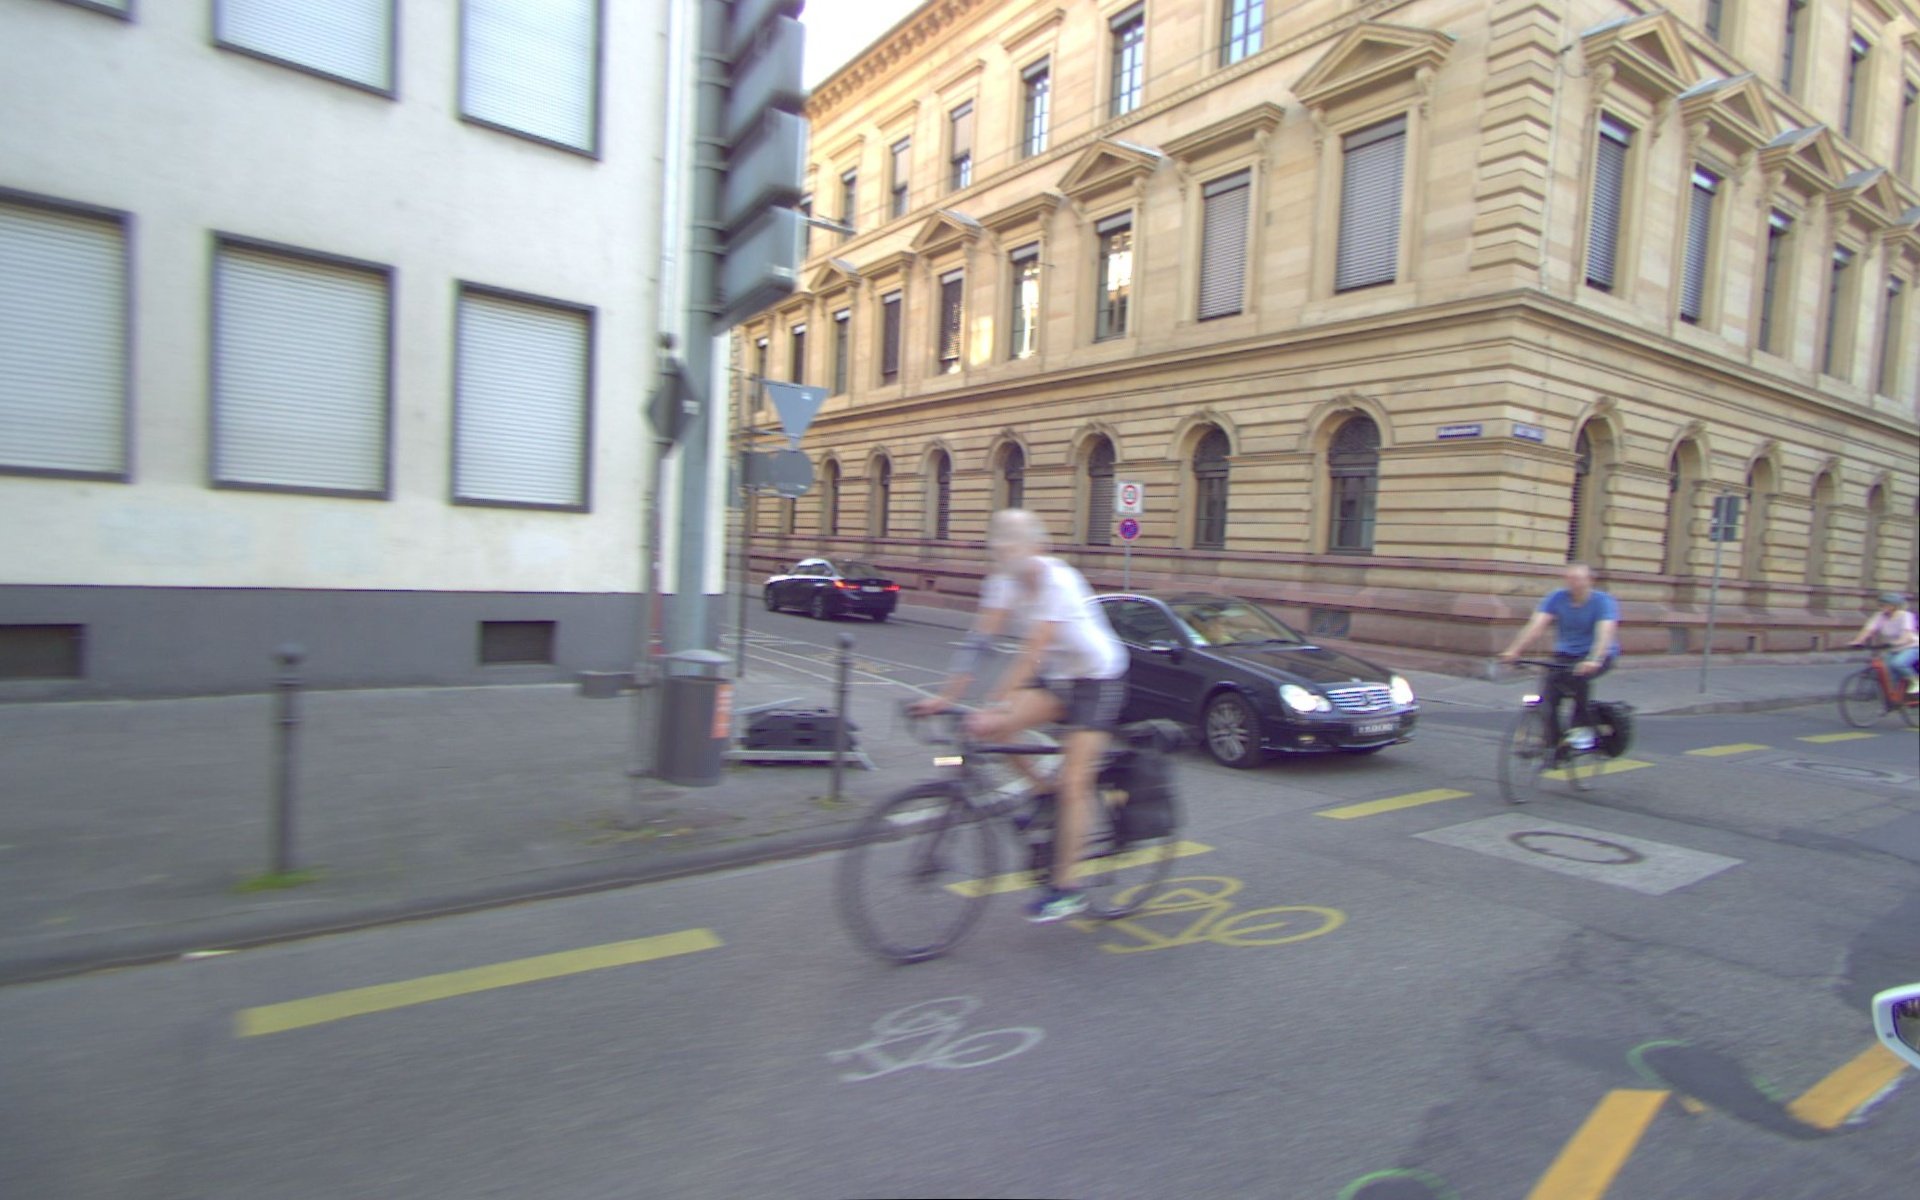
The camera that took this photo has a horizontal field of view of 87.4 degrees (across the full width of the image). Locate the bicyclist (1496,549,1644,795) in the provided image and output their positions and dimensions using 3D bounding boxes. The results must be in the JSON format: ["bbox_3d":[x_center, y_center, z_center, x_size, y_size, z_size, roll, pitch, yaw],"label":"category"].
[{"bbox_3d":[4.488,0.505,7.393,0.827,1.697,0.578,2,0,-31],"label":"bicyclist"}]

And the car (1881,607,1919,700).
[{"bbox_3d":[18.285,0.960,17.664,4.591,1.528,1.869,1,1,-32],"label":"car"}]

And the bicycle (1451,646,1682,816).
[{"bbox_3d":[4.492,0.906,7.402,1.875,1.085,0.606,1,1,-30],"label":"bicycle"}]

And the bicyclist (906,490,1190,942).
[{"bbox_3d":[0.365,0.442,4.217,0.998,1.681,0.572,2,0,-28],"label":"bicyclist"}]

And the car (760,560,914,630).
[{"bbox_3d":[-3.109,-0.169,24.534,1.980,1.461,4.281,1,3,-34],"label":"car"}]

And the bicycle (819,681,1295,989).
[{"bbox_3d":[0.461,0.889,4.277,2.005,1.001,0.584,1,1,-28],"label":"bicycle"}]

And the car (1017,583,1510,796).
[{"bbox_3d":[2.530,0.637,9.767,1.744,1.340,4.740,1,3,-27],"label":"car"}]

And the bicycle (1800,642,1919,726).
[{"bbox_3d":[12.338,1.118,13.338,2.089,1.005,0.638,2,2,-13],"label":"bicycle"}]

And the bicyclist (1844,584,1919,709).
[{"bbox_3d":[12.431,0.608,13.339,0.750,1.598,0.642,2,2,-12],"label":"bicyclist"}]
